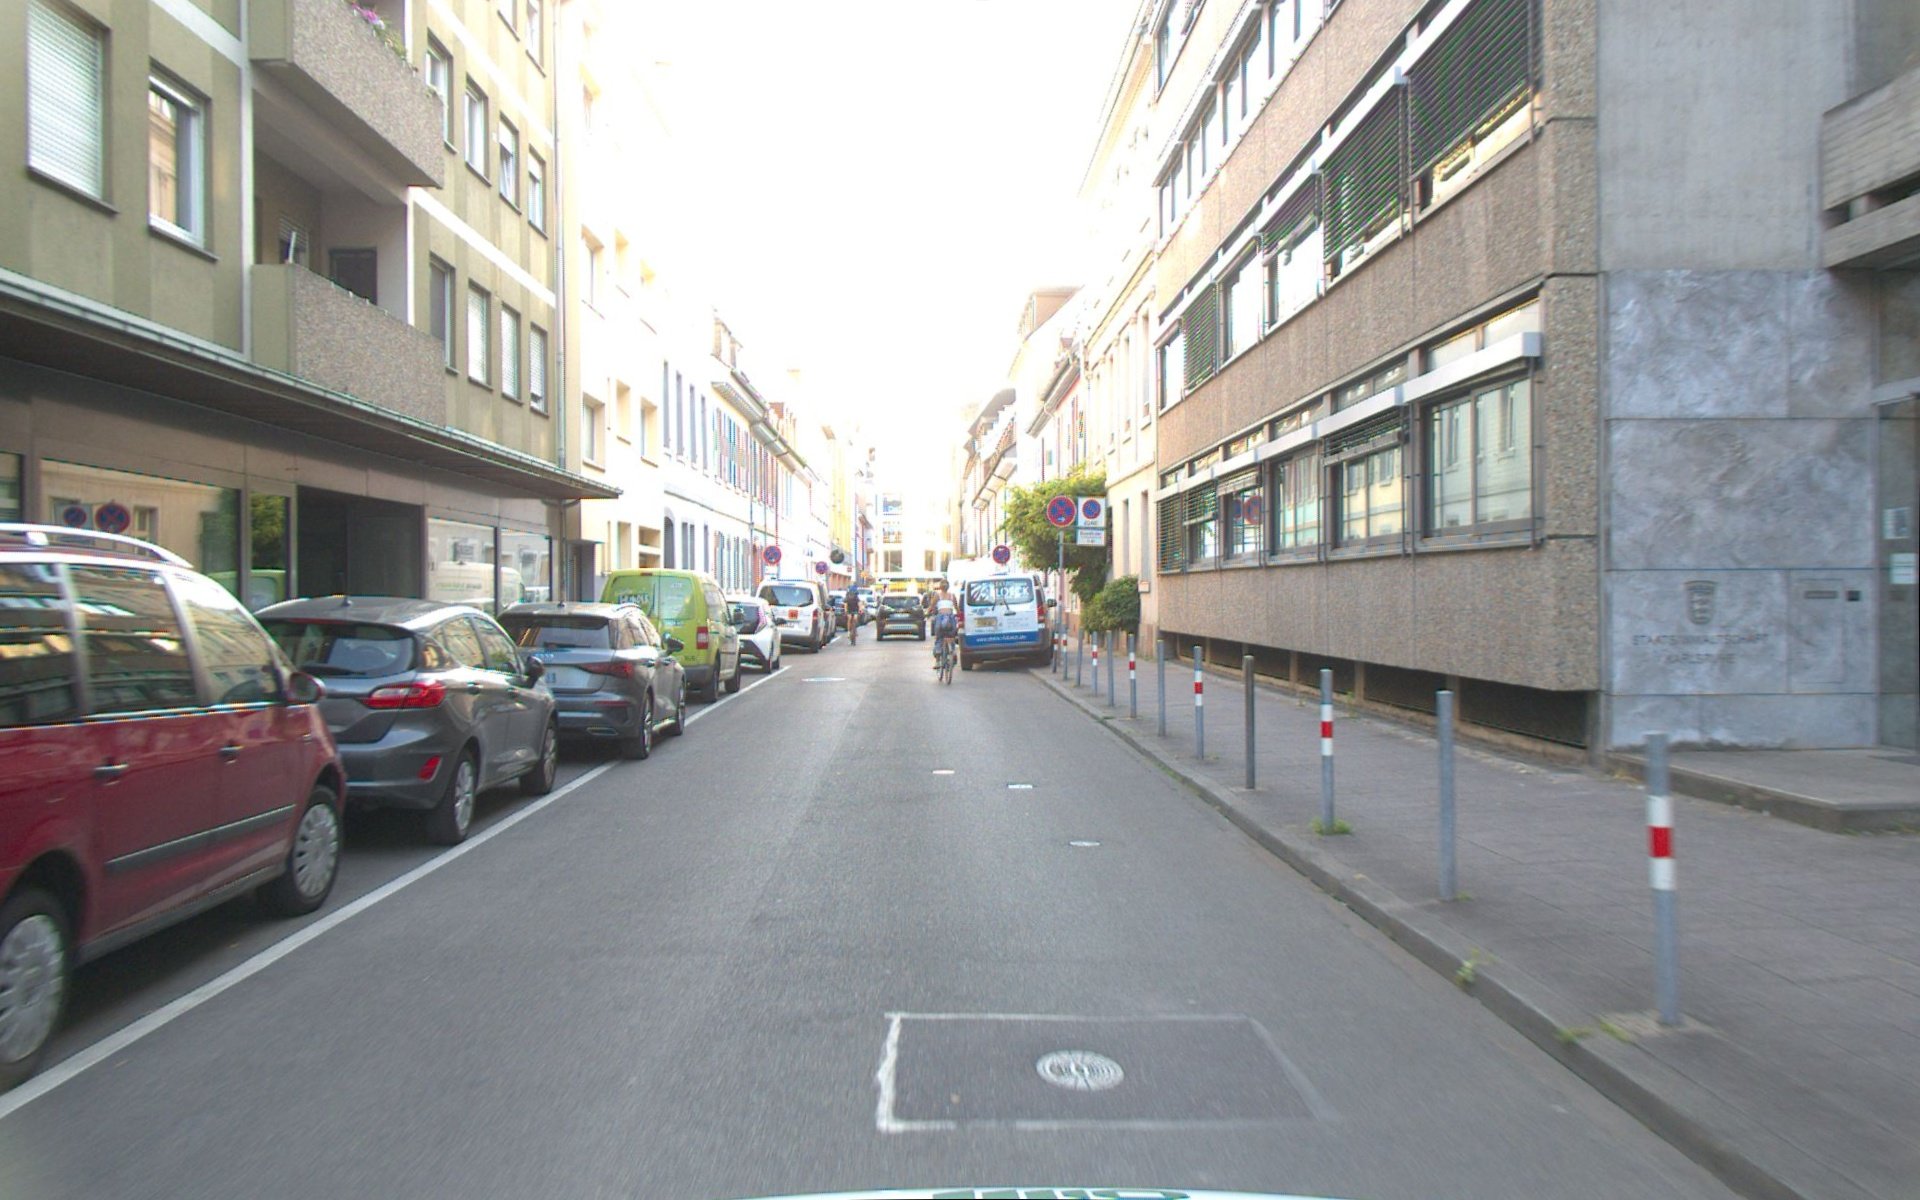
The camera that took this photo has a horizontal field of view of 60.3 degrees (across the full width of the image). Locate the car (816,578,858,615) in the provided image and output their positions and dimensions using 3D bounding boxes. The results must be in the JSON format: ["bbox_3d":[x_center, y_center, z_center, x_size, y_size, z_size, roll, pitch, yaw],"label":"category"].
[{"bbox_3d":[-6.074,-0.173,82.006,1.958,1.737,4.533,1,0,-3],"label":"car"}]

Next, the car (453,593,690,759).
[{"bbox_3d":[-3.718,0.657,16.451,1.592,1.440,3.978,1,0,-3],"label":"car"}]

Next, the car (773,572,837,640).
[{"bbox_3d":[-4.936,0.160,53.204,1.825,2.049,4.811,0,1,-3],"label":"car"}]

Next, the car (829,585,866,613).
[{"bbox_3d":[-5.982,-0.075,88.395,1.880,1.459,4.291,1,0,-3],"label":"car"}]

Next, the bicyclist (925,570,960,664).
[{"bbox_3d":[-0.302,0.287,28.669,0.608,1.602,0.683,0,0,-1],"label":"bicyclist"}]

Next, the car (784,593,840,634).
[{"bbox_3d":[-5.346,0.450,60.174,1.729,1.426,4.262,0,0,-1],"label":"car"}]

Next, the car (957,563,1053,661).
[{"bbox_3d":[0.963,0.216,35.631,1.896,1.931,5.278,-1,1,1],"label":"car"}]

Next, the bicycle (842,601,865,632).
[{"bbox_3d":[-3.342,0.522,51.963,0.621,0.938,1.779,0,0,-1],"label":"bicycle"}]

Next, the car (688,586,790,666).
[{"bbox_3d":[-4.468,0.499,33.853,1.628,1.474,3.519,3,0,-2],"label":"car"}]

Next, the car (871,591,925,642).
[{"bbox_3d":[-2.118,0.533,57.032,1.783,1.646,3.999,1,0,-2],"label":"car"}]

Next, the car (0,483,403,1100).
[{"bbox_3d":[-3.810,0.549,6.726,1.737,1.843,4.508,0,0,-3],"label":"car"}]

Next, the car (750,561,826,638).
[{"bbox_3d":[-4.803,-0.041,46.734,1.825,2.049,5.103,0,1,-3],"label":"car"}]

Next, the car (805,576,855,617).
[{"bbox_3d":[-5.514,-0.156,70.767,1.766,1.706,4.490,0,0,0],"label":"car"}]

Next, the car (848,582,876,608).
[{"bbox_3d":[-6.202,-0.311,104.938,1.620,1.588,3.605,1,0,-1],"label":"car"}]

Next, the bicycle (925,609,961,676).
[{"bbox_3d":[-0.300,0.719,28.638,0.601,1.101,1.809,0,0,-1],"label":"bicycle"}]

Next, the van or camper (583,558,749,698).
[{"bbox_3d":[-4.252,0.363,24.521,1.736,1.880,4.178,-1,0,-1],"label":"van or camper"}]

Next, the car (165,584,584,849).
[{"bbox_3d":[-3.826,0.663,11.510,1.591,1.510,3.877,-1,0,-1],"label":"car"}]

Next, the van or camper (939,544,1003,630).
[{"bbox_3d":[0.327,-0.450,55.711,2.008,2.683,7.062,0,1,-1],"label":"van or camper"}]

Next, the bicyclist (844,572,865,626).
[{"bbox_3d":[-3.322,-0.041,51.983,0.610,1.668,1.081,0,0,-1],"label":"bicyclist"}]
